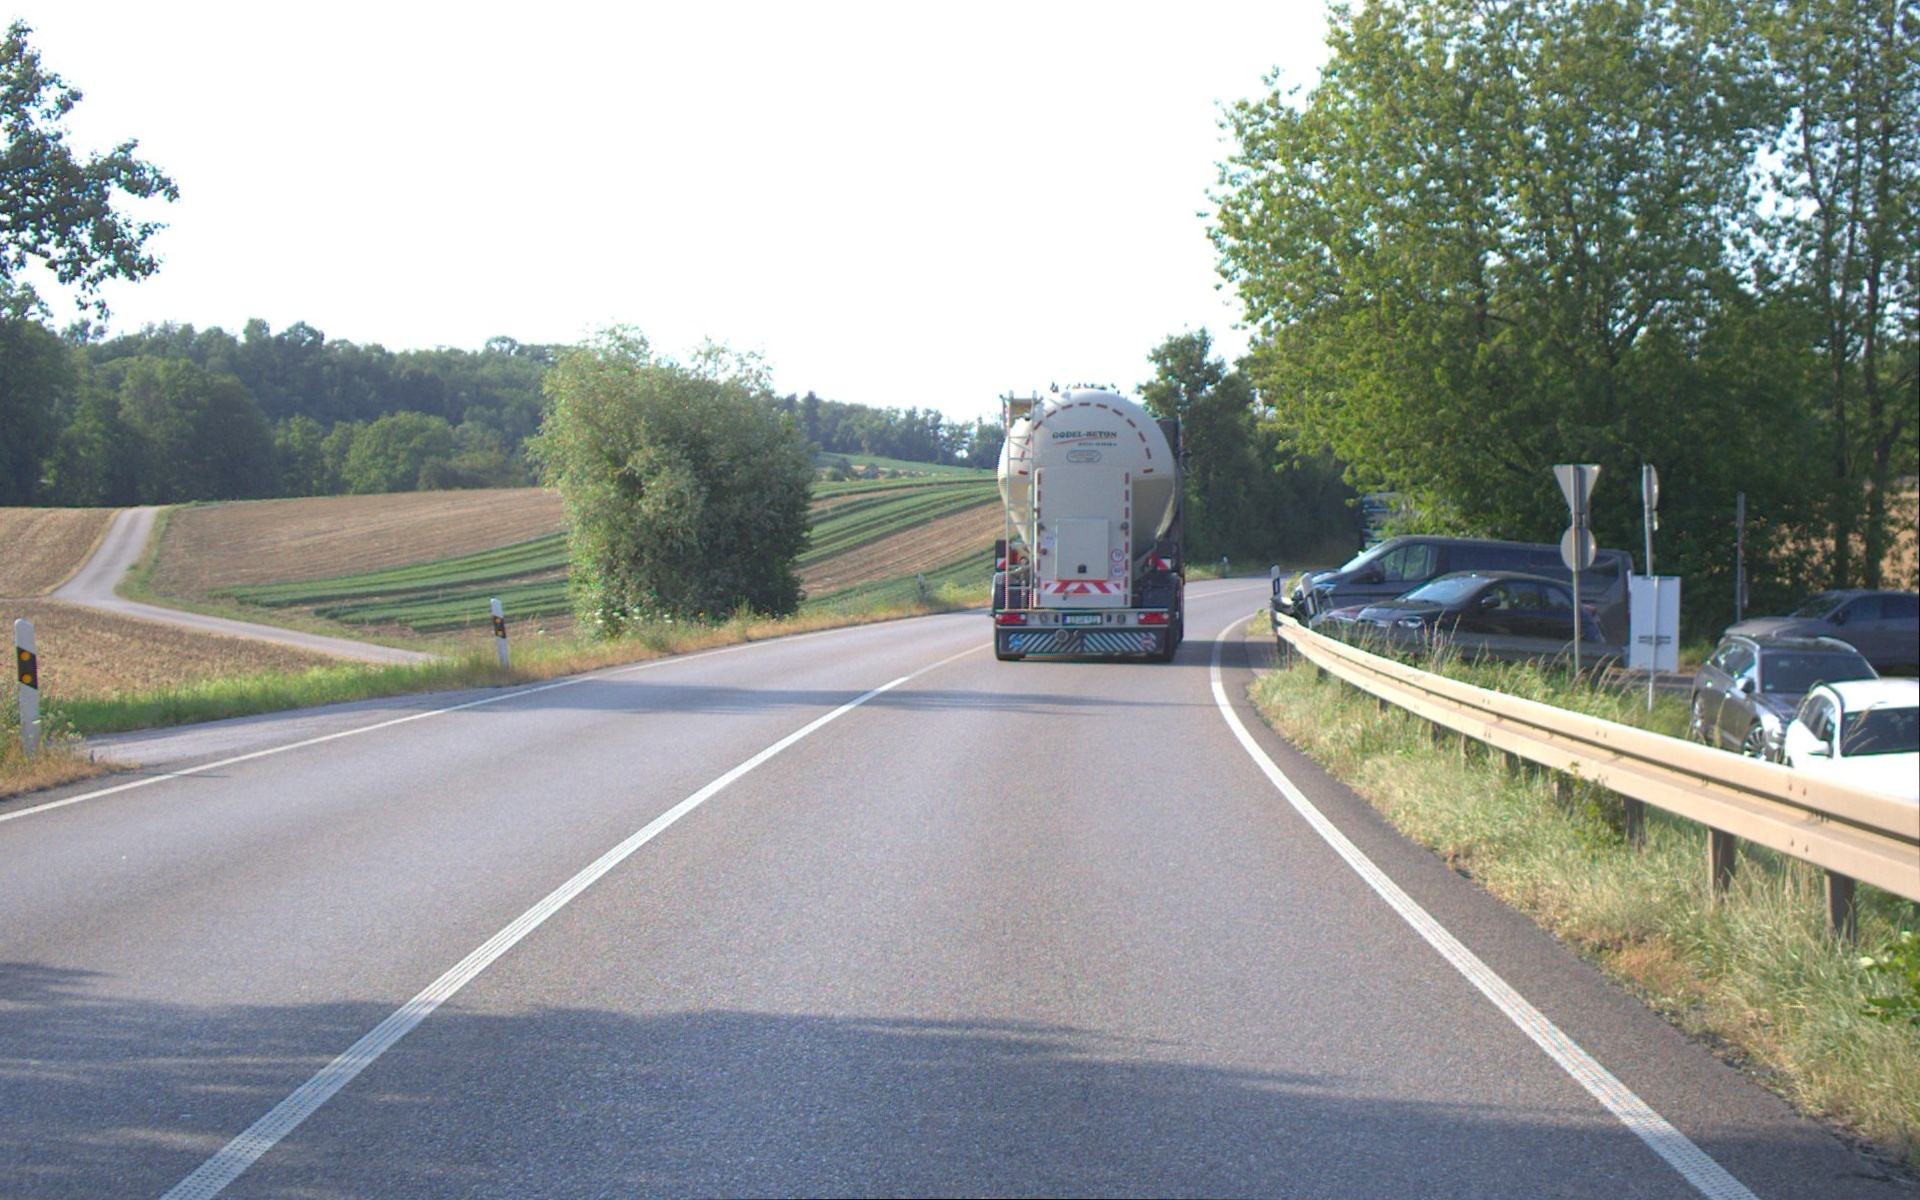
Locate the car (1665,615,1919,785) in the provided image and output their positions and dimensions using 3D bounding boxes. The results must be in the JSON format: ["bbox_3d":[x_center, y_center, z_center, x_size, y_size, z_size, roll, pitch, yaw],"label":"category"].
[{"bbox_3d":[9.878,1.127,40.870,1.892,1.554,4.783,-3,3,0],"label":"car"}]

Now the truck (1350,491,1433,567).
[{"bbox_3d":[23.079,-3.838,183.412,2.391,3.907,10.151,0,2,19],"label":"truck"}]

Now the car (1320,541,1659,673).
[{"bbox_3d":[7.226,0.099,46.849,4.310,1.504,1.721,3,1,-28],"label":"car"}]

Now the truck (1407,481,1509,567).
[{"bbox_3d":[25.561,-3.920,175.861,3.186,4.213,13.162,0,2,17],"label":"truck"}]

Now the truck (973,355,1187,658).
[{"bbox_3d":[2.042,-1.391,53.649,2.893,4.128,13.171,0,1,3],"label":"truck"}]

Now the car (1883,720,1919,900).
[{"bbox_3d":[9.722,2.000,30.334,1.892,1.554,4.783,-3,3,1],"label":"car"}]

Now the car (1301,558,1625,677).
[{"bbox_3d":[7.274,0.254,49.679,4.310,1.395,1.721,3,2,-25],"label":"car"}]

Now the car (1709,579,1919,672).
[{"bbox_3d":[14.668,0.431,57.676,3.717,1.436,1.812,1,1,-23],"label":"car"}]

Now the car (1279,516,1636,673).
[{"bbox_3d":[7.676,-0.103,53.466,5.140,1.937,1.975,5,2,1],"label":"car"}]

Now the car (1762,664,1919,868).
[{"bbox_3d":[9.666,1.644,35.541,1.892,1.554,4.782,-3,3,4],"label":"car"}]
